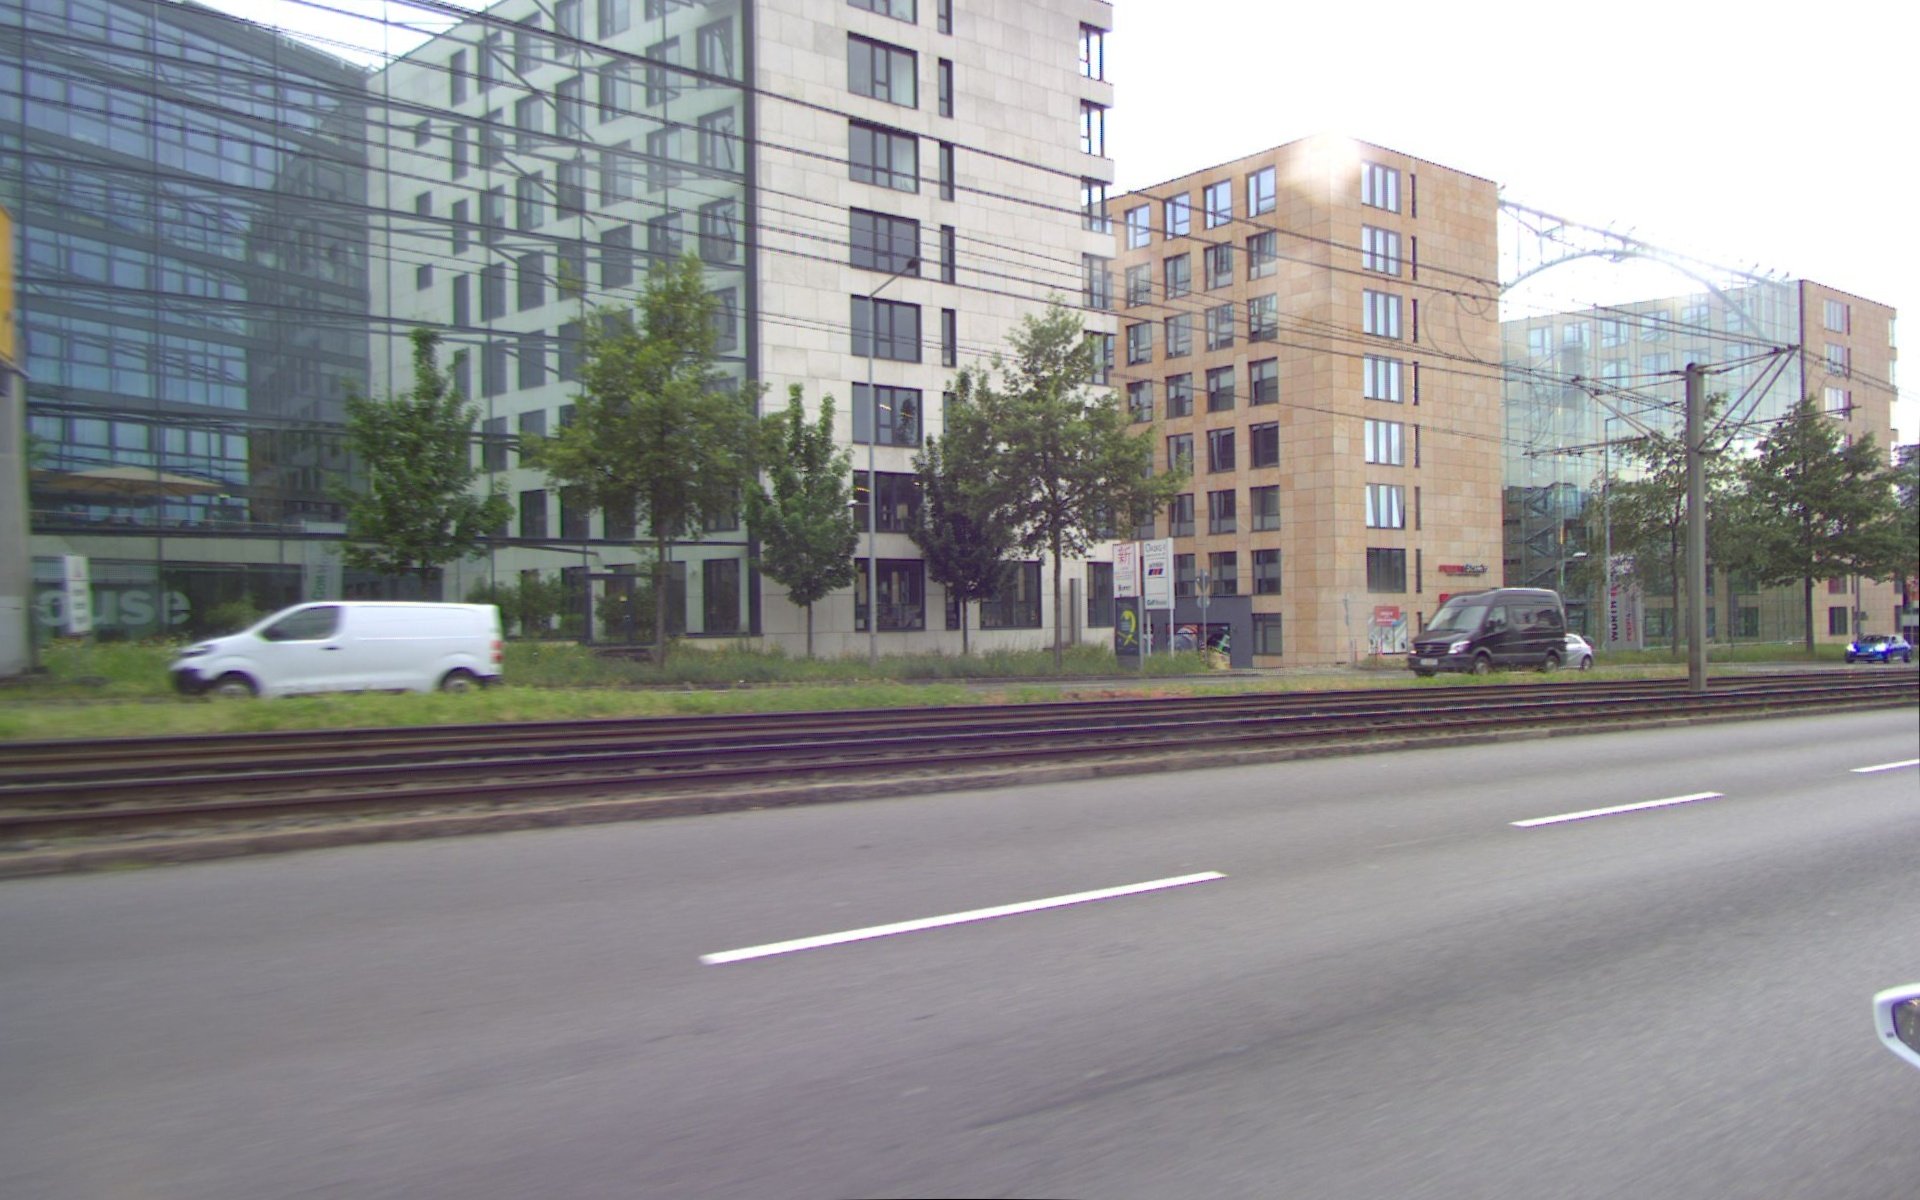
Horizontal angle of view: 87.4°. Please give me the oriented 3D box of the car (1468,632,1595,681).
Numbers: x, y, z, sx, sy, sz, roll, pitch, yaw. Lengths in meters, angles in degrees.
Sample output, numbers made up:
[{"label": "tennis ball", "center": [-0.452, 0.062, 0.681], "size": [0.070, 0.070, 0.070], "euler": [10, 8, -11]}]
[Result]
[{"label": "car", "center": [20.032, 1.944, 35.148], "size": [4.761, 1.554, 1.751], "euler": [1, 0, -31]}]

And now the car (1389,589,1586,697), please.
[{"label": "car", "center": [15.310, 1.207, 29.110], "size": [5.542, 2.855, 2.373], "euler": [2, 0, -29]}]

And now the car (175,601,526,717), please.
[{"label": "car", "center": [-10.430, 0.965, 17.635], "size": [5.001, 1.785, 1.929], "euler": [1, 0, -30]}]

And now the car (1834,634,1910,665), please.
[{"label": "car", "center": [48.691, 2.658, 53.613], "size": [3.976, 1.473, 1.833], "euler": [3, -1, -29]}]
